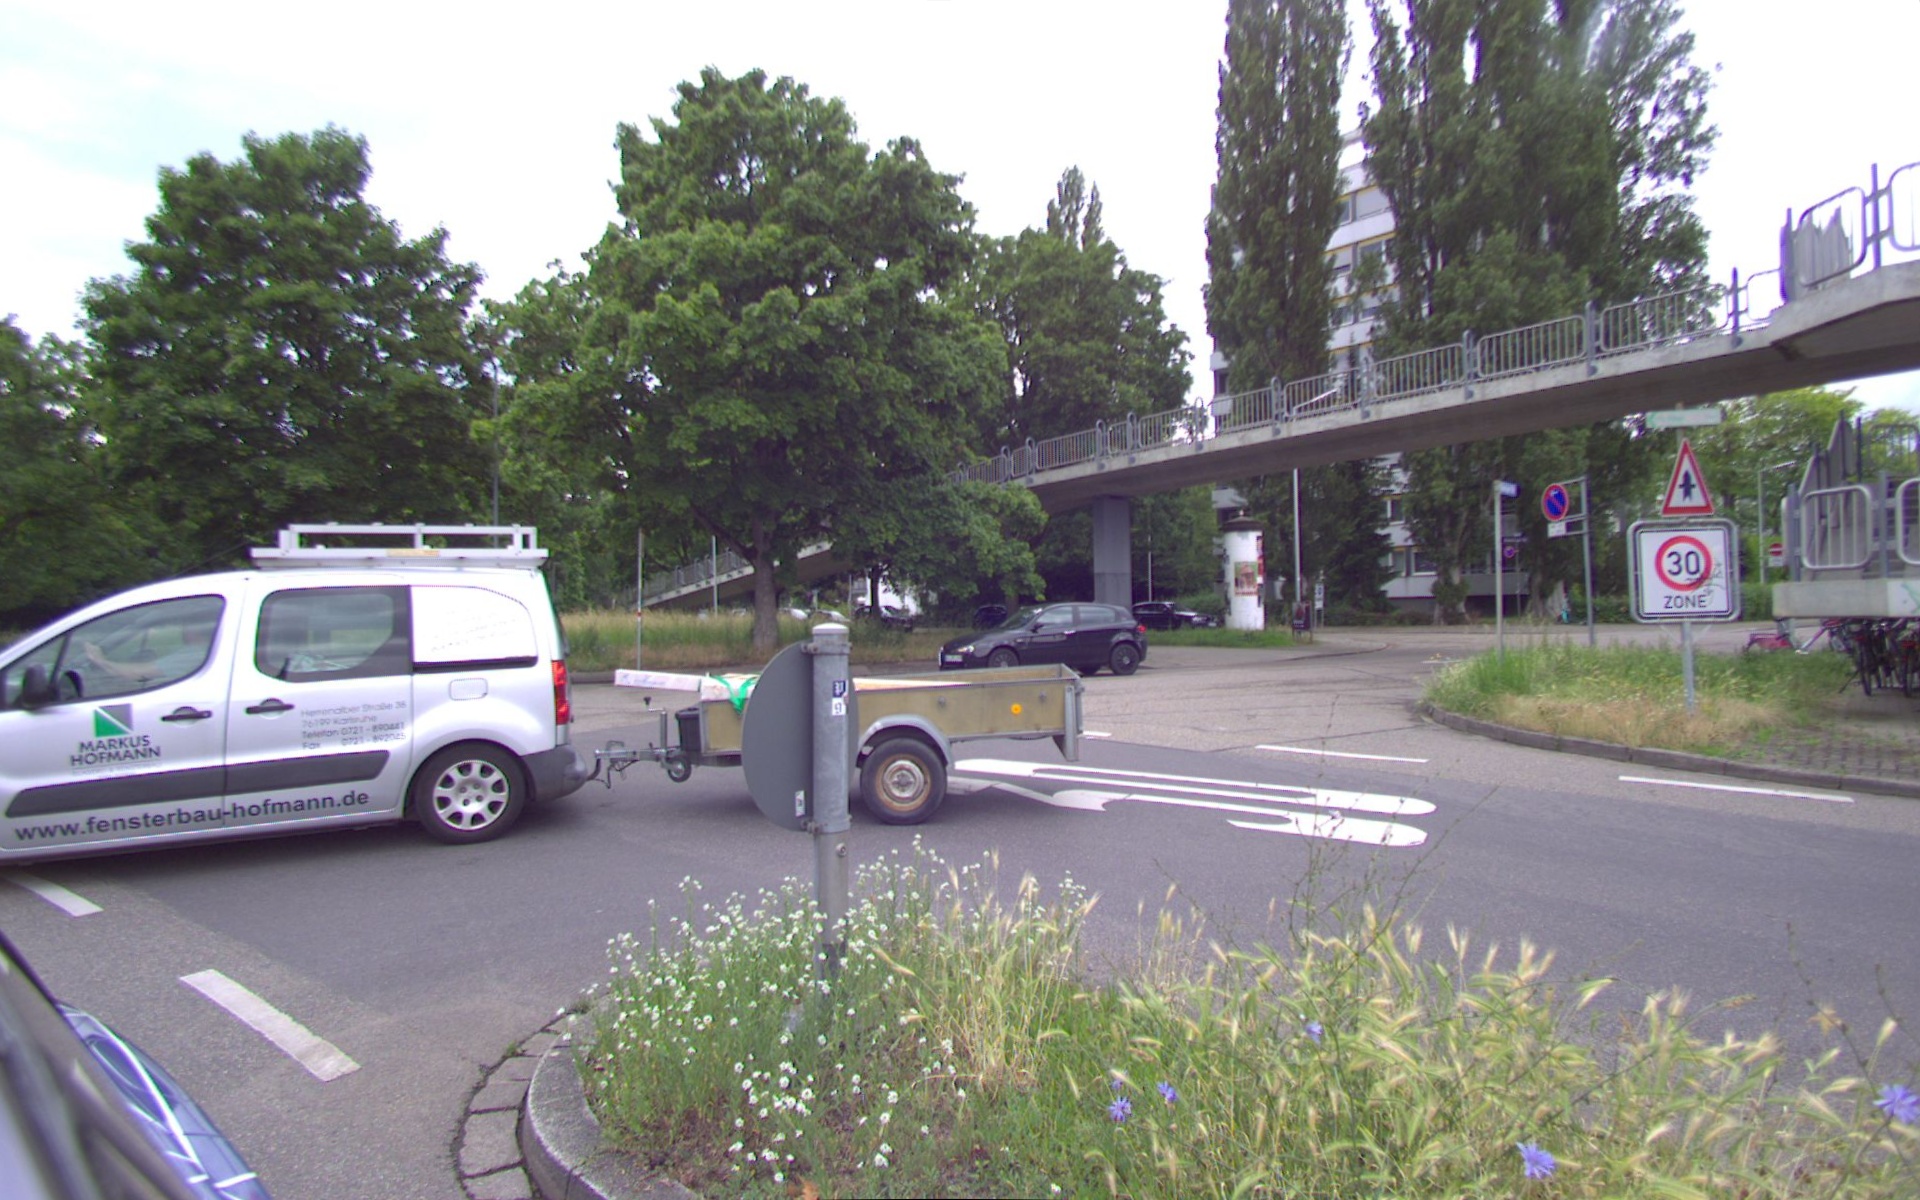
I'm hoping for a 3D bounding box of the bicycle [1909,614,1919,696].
[{"bbox_3d":[11.574,0.630,11.992,1.618,0.892,0.395,-1,-1,-44],"label":"bicycle"}]

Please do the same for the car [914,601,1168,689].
[{"bbox_3d":[1.526,0.807,19.389,4.463,1.468,1.809,-1,0,-19],"label":"car"}]

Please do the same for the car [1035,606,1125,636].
[{"bbox_3d":[5.432,0.947,46.177,1.667,1.256,4.007,-1,0,-39],"label":"car"}]

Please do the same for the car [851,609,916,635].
[{"bbox_3d":[-4.386,1.250,57.463,1.667,1.361,4.007,-1,0,-39],"label":"car"}]

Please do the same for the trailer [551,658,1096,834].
[{"bbox_3d":[-0.846,0.954,7.094,3.419,0.993,1.571,0,0,3],"label":"trailer"}]

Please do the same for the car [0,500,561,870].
[{"bbox_3d":[-4.794,0.439,6.302,4.148,1.871,2.102,-1,-1,-25],"label":"car"}]

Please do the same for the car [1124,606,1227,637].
[{"bbox_3d":[8.881,0.887,41.946,1.667,1.214,4.007,-1,0,-39],"label":"car"}]

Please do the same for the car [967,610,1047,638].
[{"bbox_3d":[2.282,1.179,49.890,1.667,1.247,4.007,-1,0,-39],"label":"car"}]

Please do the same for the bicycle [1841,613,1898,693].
[{"bbox_3d":[11.157,0.622,12.395,1.618,0.892,0.395,-1,-1,-44],"label":"bicycle"}]
